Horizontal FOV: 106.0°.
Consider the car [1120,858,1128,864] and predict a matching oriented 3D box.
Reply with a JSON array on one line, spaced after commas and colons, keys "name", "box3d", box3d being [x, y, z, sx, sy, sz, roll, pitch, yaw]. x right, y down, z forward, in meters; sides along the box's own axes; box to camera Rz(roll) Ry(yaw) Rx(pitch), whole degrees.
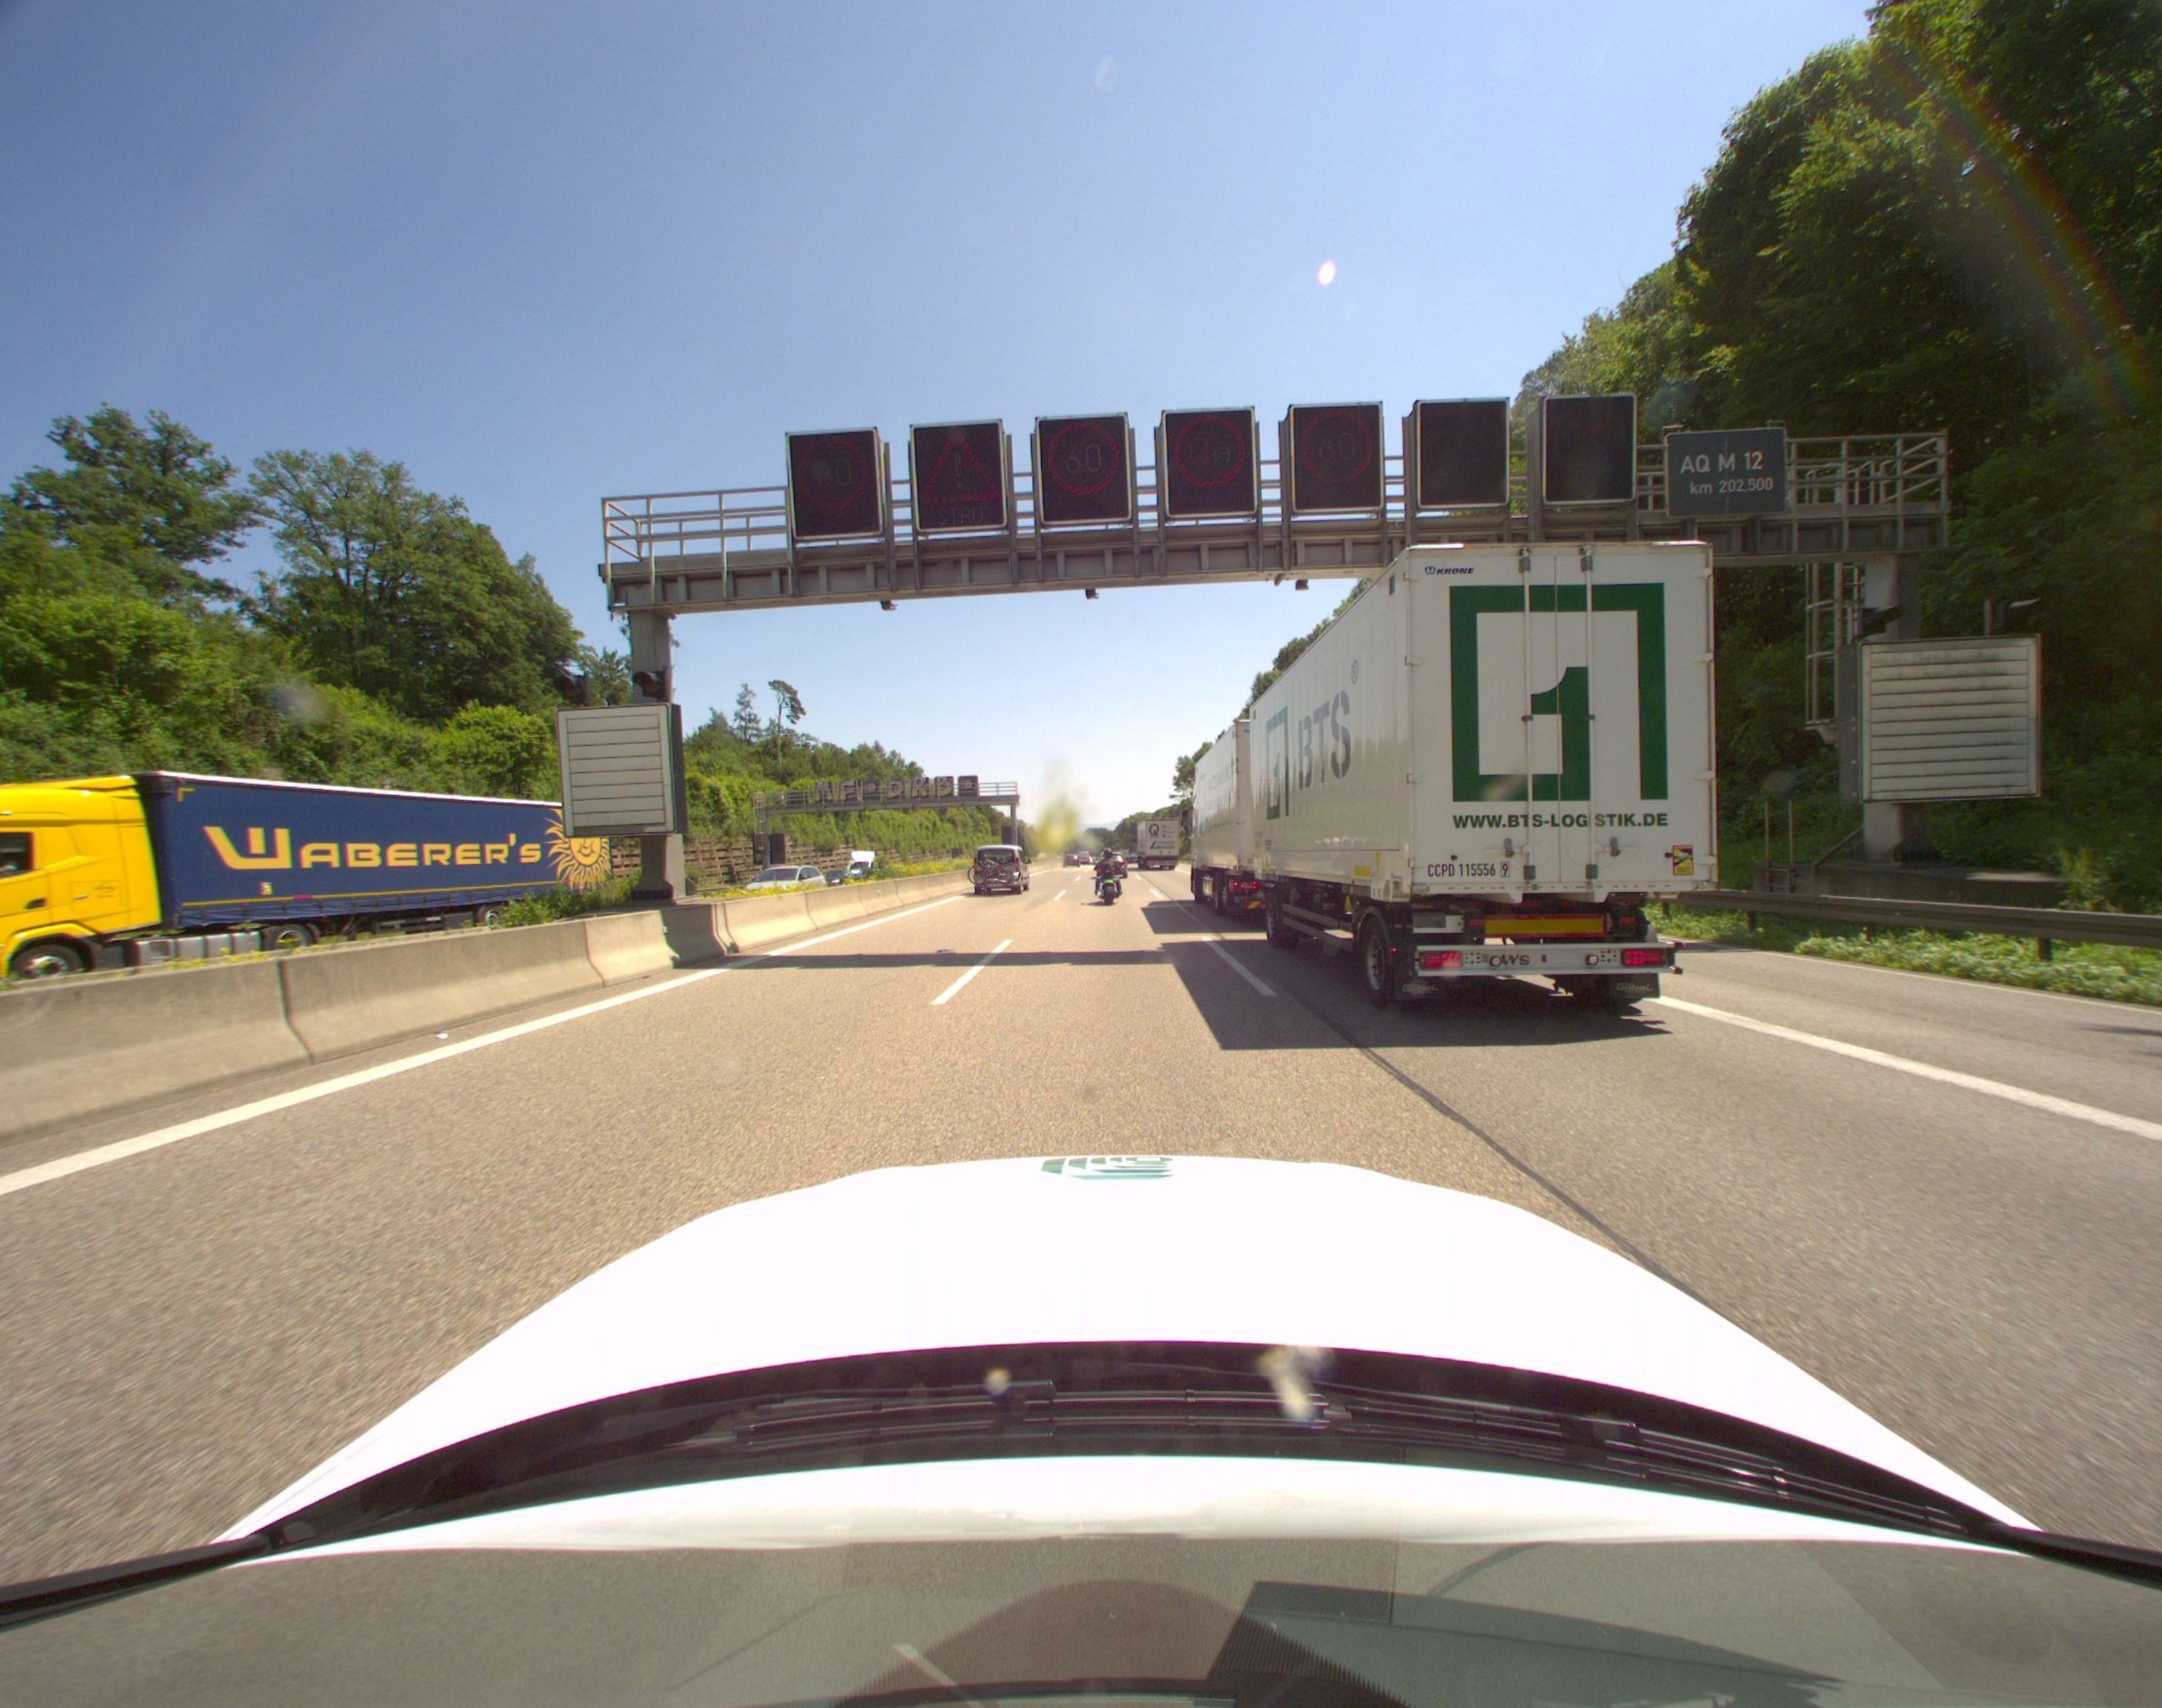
[{"name": "car", "box3d": [10.609, 1.700, 202.898, 1.824, 1.526, 4.029, -1, 1, 1]}]

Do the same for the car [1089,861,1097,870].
[{"name": "car", "box3d": [2.703, 2.592, 181.613, 1.824, 1.810, 4.121, -1, 1, 2]}]

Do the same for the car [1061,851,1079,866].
[{"name": "car", "box3d": [-1.212, 0.477, 89.211, 1.751, 1.543, 4.397, -1, 1, 2]}]

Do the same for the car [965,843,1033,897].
[{"name": "car", "box3d": [-3.055, 0.576, 31.379, 1.891, 1.848, 5.485, -1, 0, 2]}]

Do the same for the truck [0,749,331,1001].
[{"name": "truck", "box3d": [-19.337, 0.429, 15.895, 2.938, 4.202, 6.464, -4, 0, 3]}]

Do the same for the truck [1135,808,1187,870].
[{"name": "truck", "box3d": [6.639, -1.177, 70.491, 3.370, 4.718, 17.717, 0, 0, 2]}]

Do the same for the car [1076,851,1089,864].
[{"name": "car", "box3d": [0.278, 0.553, 119.109, 1.824, 1.810, 4.121, -1, 1, 2]}]

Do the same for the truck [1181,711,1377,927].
[{"name": "truck", "box3d": [4.400, -0.681, 20.765, 2.670, 4.059, 10.630, -1, 0, 2]}]

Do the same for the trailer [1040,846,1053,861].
[{"name": "trailer", "box3d": [-9.926, -0.095, 235.375, 2.670, 4.015, 14.193, -2, 0, 2]}]

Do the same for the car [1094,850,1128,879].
[{"name": "car", "box3d": [1.721, 0.546, 47.109, 1.838, 1.557, 4.441, -1, 1, 2]}]

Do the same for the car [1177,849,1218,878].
[{"name": "car", "box3d": [6.715, 0.509, 47.200, 1.838, 1.557, 4.394, -1, 1, 2]}]

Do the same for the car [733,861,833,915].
[{"name": "car", "box3d": [-10.510, 1.157, 29.058, 1.837, 1.604, 4.118, -3, 0, 2]}]

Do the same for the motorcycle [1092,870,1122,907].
[{"name": "motorcycle", "box3d": [0.794, 1.001, 24.276, 0.859, 0.982, 2.132, -1, 0, 3]}]

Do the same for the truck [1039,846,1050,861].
[{"name": "truck", "box3d": [-10.163, -0.044, 227.938, 2.670, 4.030, 5.933, -2, 0, 1]}]

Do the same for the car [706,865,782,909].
[{"name": "car", "box3d": [-13.897, 1.326, 33.788, 1.510, 1.535, 3.551, -3, 0, 2]}]

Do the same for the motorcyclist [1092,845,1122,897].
[{"name": "motorcyclist", "box3d": [0.783, 0.497, 24.264, 0.852, 1.515, 0.914, -1, -1, 2]}]

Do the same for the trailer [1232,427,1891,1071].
[{"name": "trailer", "box3d": [4.072, -0.708, 10.373, 2.670, 4.175, 10.069, -1, 0, 2]}]

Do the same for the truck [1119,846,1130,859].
[{"name": "truck", "box3d": [12.052, -0.394, 226.382, 3.056, 3.346, 9.656, 0, 0, 2]}]

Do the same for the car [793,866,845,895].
[{"name": "car", "box3d": [-16.786, 1.657, 52.390, 1.793, 1.603, 4.373, -3, 0, 2]}]

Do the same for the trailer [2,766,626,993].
[{"name": "trailer", "box3d": [-18.896, 0.454, 22.979, 2.965, 4.207, 14.478, -4, 0, 3]}]

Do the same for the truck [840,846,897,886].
[{"name": "truck", "box3d": [-17.722, 0.922, 68.293, 2.570, 2.992, 7.065, -3, 0, 2]}]

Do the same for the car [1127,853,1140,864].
[{"name": "car", "box3d": [7.842, 0.673, 122.286, 1.824, 1.526, 4.029, -1, 1, 1]}]

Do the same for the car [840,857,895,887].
[{"name": "car", "box3d": [-13.346, 1.080, 51.284, 1.996, 1.604, 4.864, -3, 0, 2]}]
